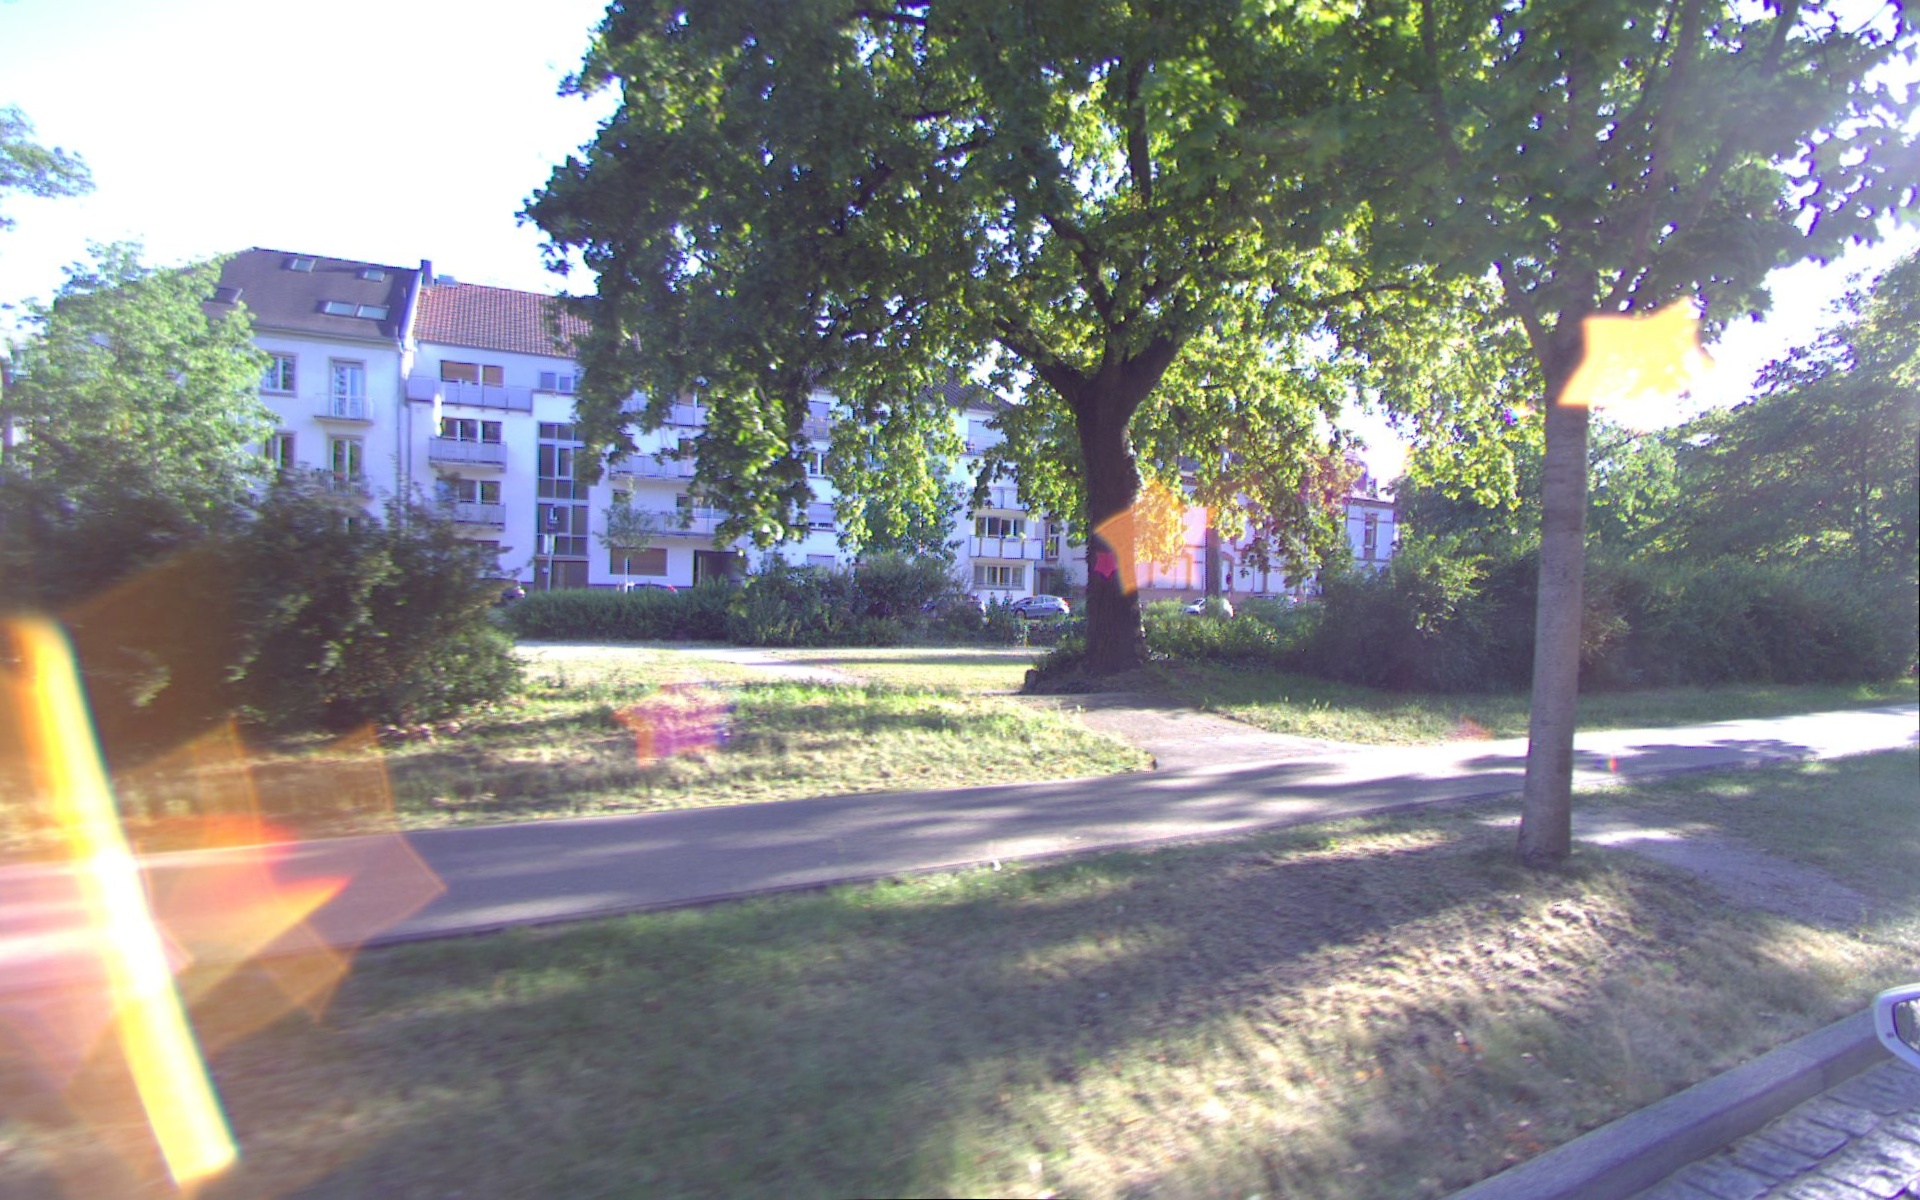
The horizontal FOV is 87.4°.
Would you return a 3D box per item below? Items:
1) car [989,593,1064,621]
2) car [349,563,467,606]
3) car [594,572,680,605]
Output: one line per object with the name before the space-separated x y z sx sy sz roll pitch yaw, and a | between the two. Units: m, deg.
car | 3.658 0.379 55.054 3.812 1.333 1.628 2 2 -27
car | -23.253 -0.656 42.491 4.157 1.603 1.926 2 1 -23
car | -14.771 -0.517 45.935 3.659 1.391 1.611 1 3 -22
